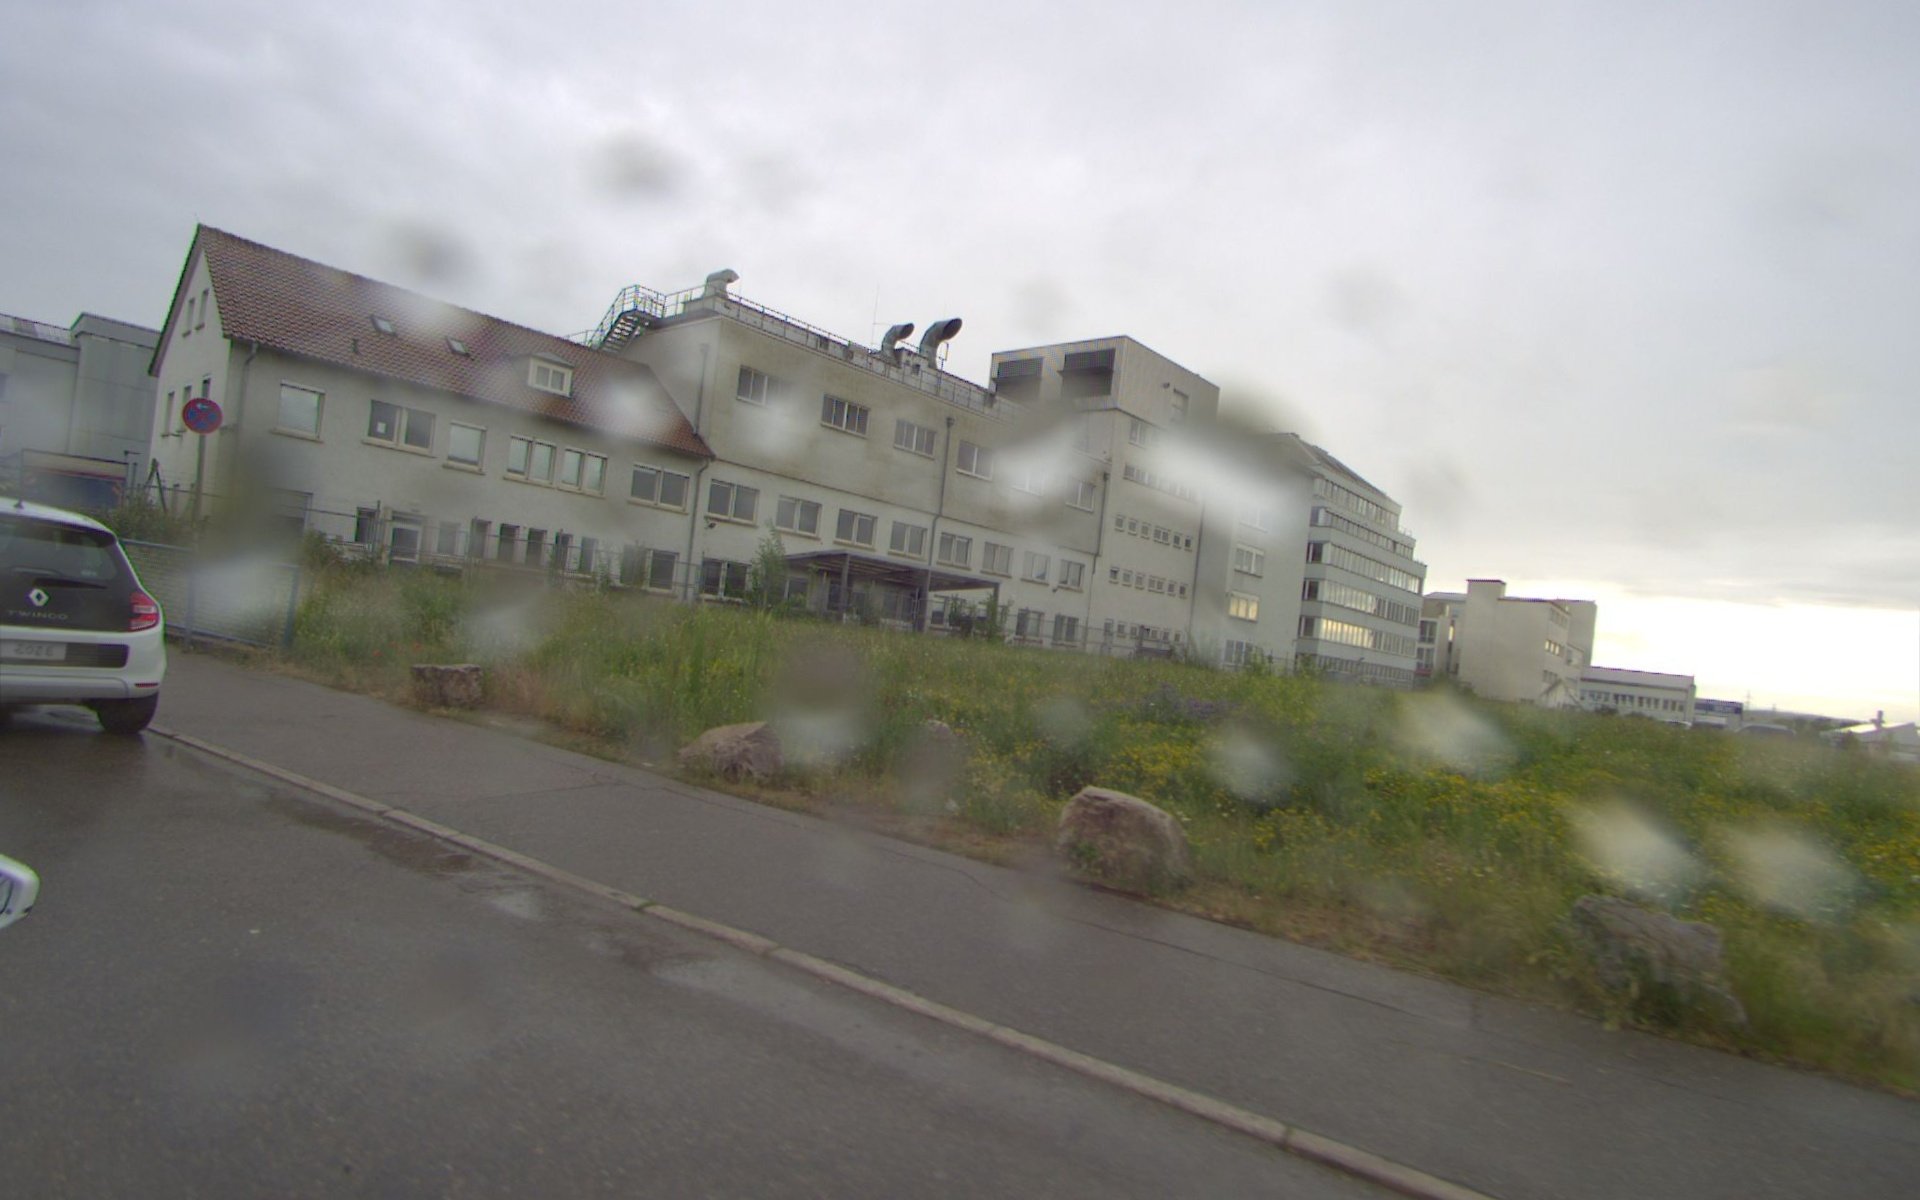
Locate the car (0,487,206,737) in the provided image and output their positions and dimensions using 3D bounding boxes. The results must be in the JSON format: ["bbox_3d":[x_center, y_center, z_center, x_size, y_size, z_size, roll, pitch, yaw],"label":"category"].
[{"bbox_3d":[-7.498,-0.086,7.432,3.612,1.575,1.685,7,-2,30],"label":"car"}]
